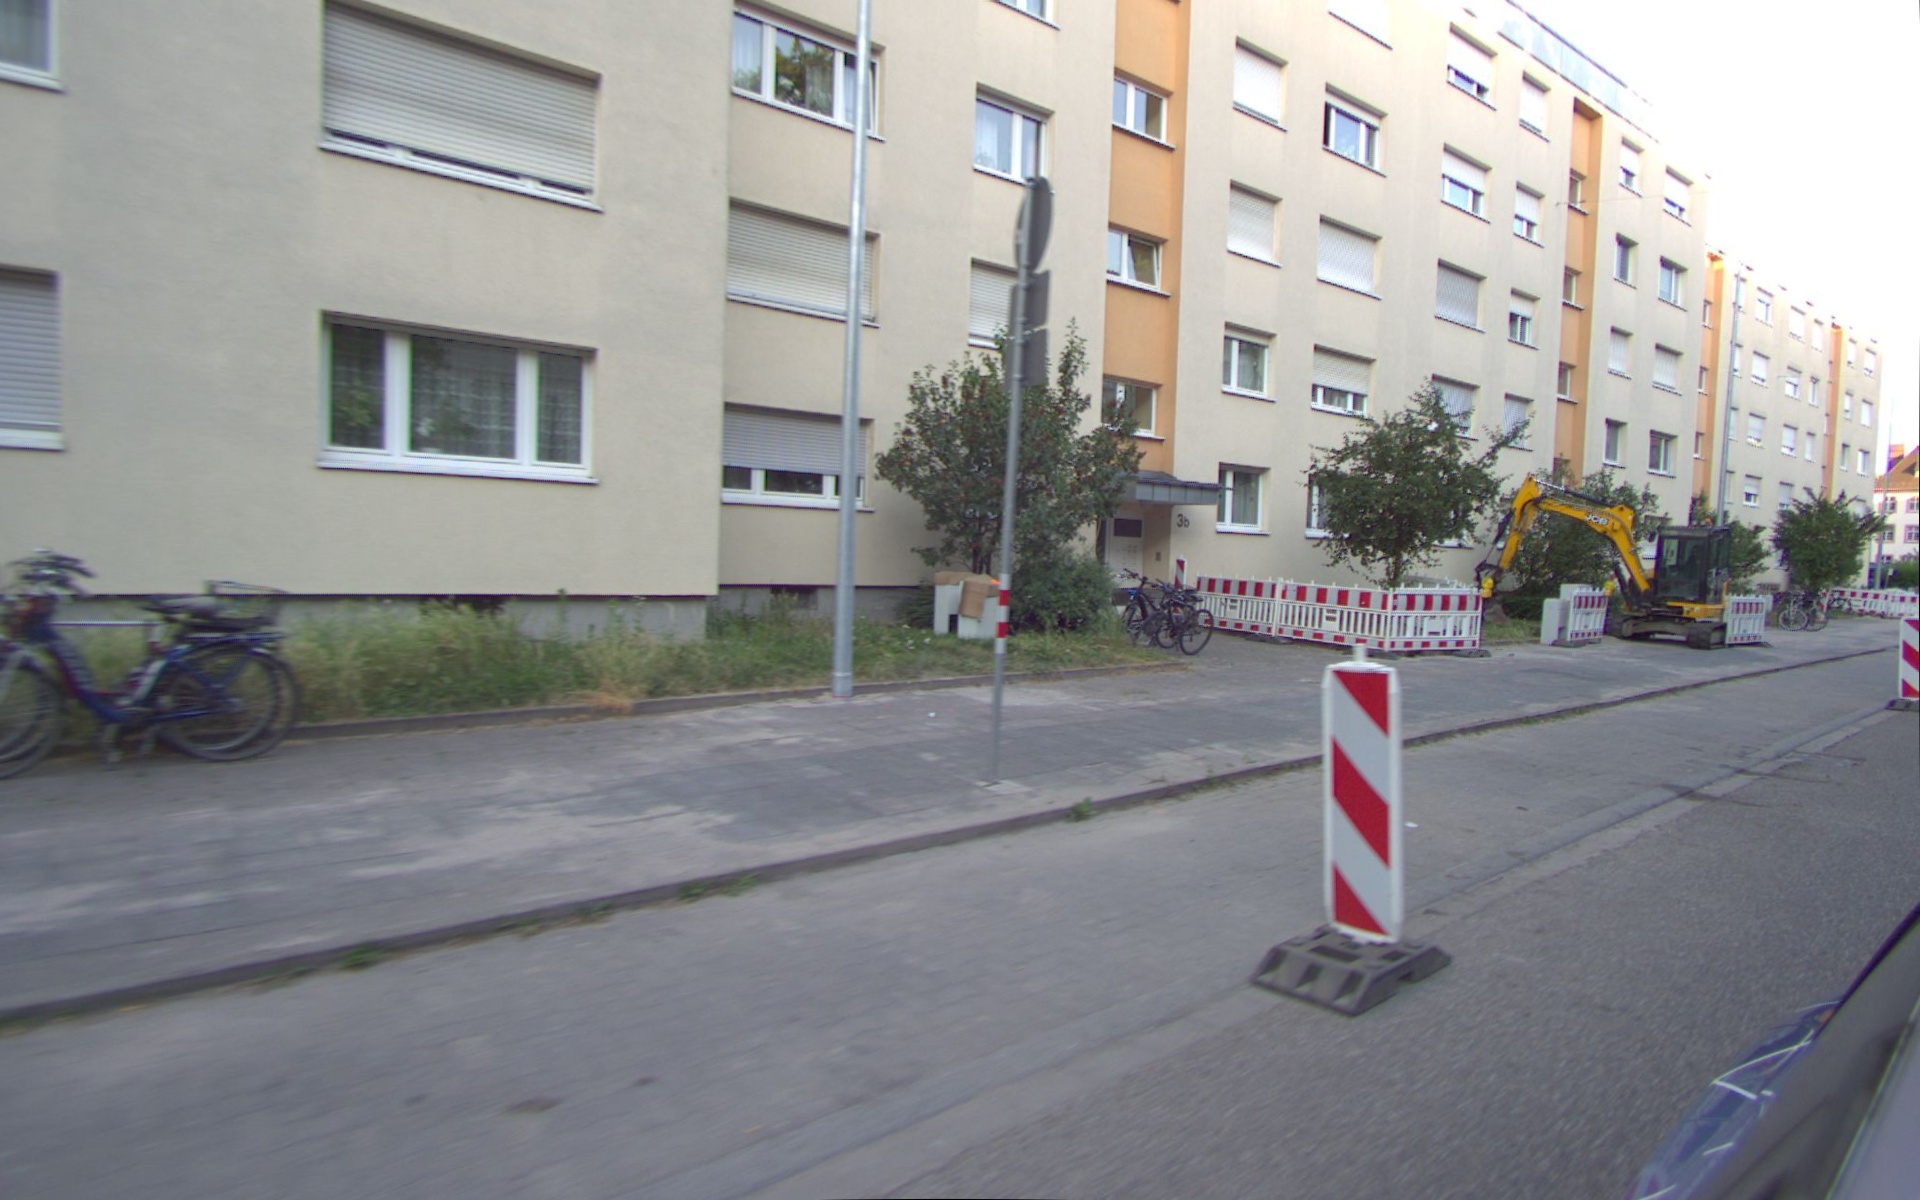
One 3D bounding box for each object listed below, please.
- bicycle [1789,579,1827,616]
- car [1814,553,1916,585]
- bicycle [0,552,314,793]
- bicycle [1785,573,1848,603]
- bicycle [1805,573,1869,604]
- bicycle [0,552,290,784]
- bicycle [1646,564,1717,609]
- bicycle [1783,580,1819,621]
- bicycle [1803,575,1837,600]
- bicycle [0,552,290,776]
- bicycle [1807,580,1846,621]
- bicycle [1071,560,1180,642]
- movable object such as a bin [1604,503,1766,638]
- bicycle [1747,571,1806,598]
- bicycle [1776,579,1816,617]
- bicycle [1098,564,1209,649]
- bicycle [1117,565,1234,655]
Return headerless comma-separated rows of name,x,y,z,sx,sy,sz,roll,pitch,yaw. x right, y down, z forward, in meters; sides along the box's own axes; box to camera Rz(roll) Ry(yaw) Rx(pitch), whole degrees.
bicycle,28.514,-0.104,34.027,1.783,1.186,0.558,-1,3,-37
car,66.021,-2.273,73.902,2.245,2.155,5.043,0,3,-32
bicycle,-4.762,0.362,5.671,1.878,1.237,0.452,-1,3,-42
bicycle,34.663,-0.490,40.966,0.546,0.997,1.763,0,8,-30
bicycle,36.200,-0.469,41.775,0.548,1.034,1.818,-1,9,-38
bicycle,-5.003,0.355,5.828,1.878,1.237,0.398,-1,3,-42
bicycle,20.811,-0.407,29.208,1.593,1.237,0.477,4,3,45
bicycle,25.777,-0.016,31.044,0.624,1.186,1.795,3,3,33
bicycle,36.684,-0.537,43.188,0.552,0.874,1.604,7,8,22
bicycle,-5.110,0.345,6.066,1.795,1.237,0.398,-1,3,-42
bicycle,26.481,-0.008,30.957,0.553,1.186,1.797,2,3,30
bicycle,2.564,-0.002,15.593,1.783,1.186,0.558,-1,3,-37
movable object such as a bin,15.782,-0.648,22.039,2.836,2.725,1.941,0,3,-35
bicycle,34.442,-0.654,42.724,1.788,0.931,0.557,5,7,10
bicycle,27.006,-0.065,32.693,1.783,1.186,0.558,-1,3,-37
bicycle,2.903,0.073,15.094,1.783,1.186,0.558,-1,3,-37
bicycle,3.060,0.115,14.276,1.783,1.186,0.558,-1,3,-37
